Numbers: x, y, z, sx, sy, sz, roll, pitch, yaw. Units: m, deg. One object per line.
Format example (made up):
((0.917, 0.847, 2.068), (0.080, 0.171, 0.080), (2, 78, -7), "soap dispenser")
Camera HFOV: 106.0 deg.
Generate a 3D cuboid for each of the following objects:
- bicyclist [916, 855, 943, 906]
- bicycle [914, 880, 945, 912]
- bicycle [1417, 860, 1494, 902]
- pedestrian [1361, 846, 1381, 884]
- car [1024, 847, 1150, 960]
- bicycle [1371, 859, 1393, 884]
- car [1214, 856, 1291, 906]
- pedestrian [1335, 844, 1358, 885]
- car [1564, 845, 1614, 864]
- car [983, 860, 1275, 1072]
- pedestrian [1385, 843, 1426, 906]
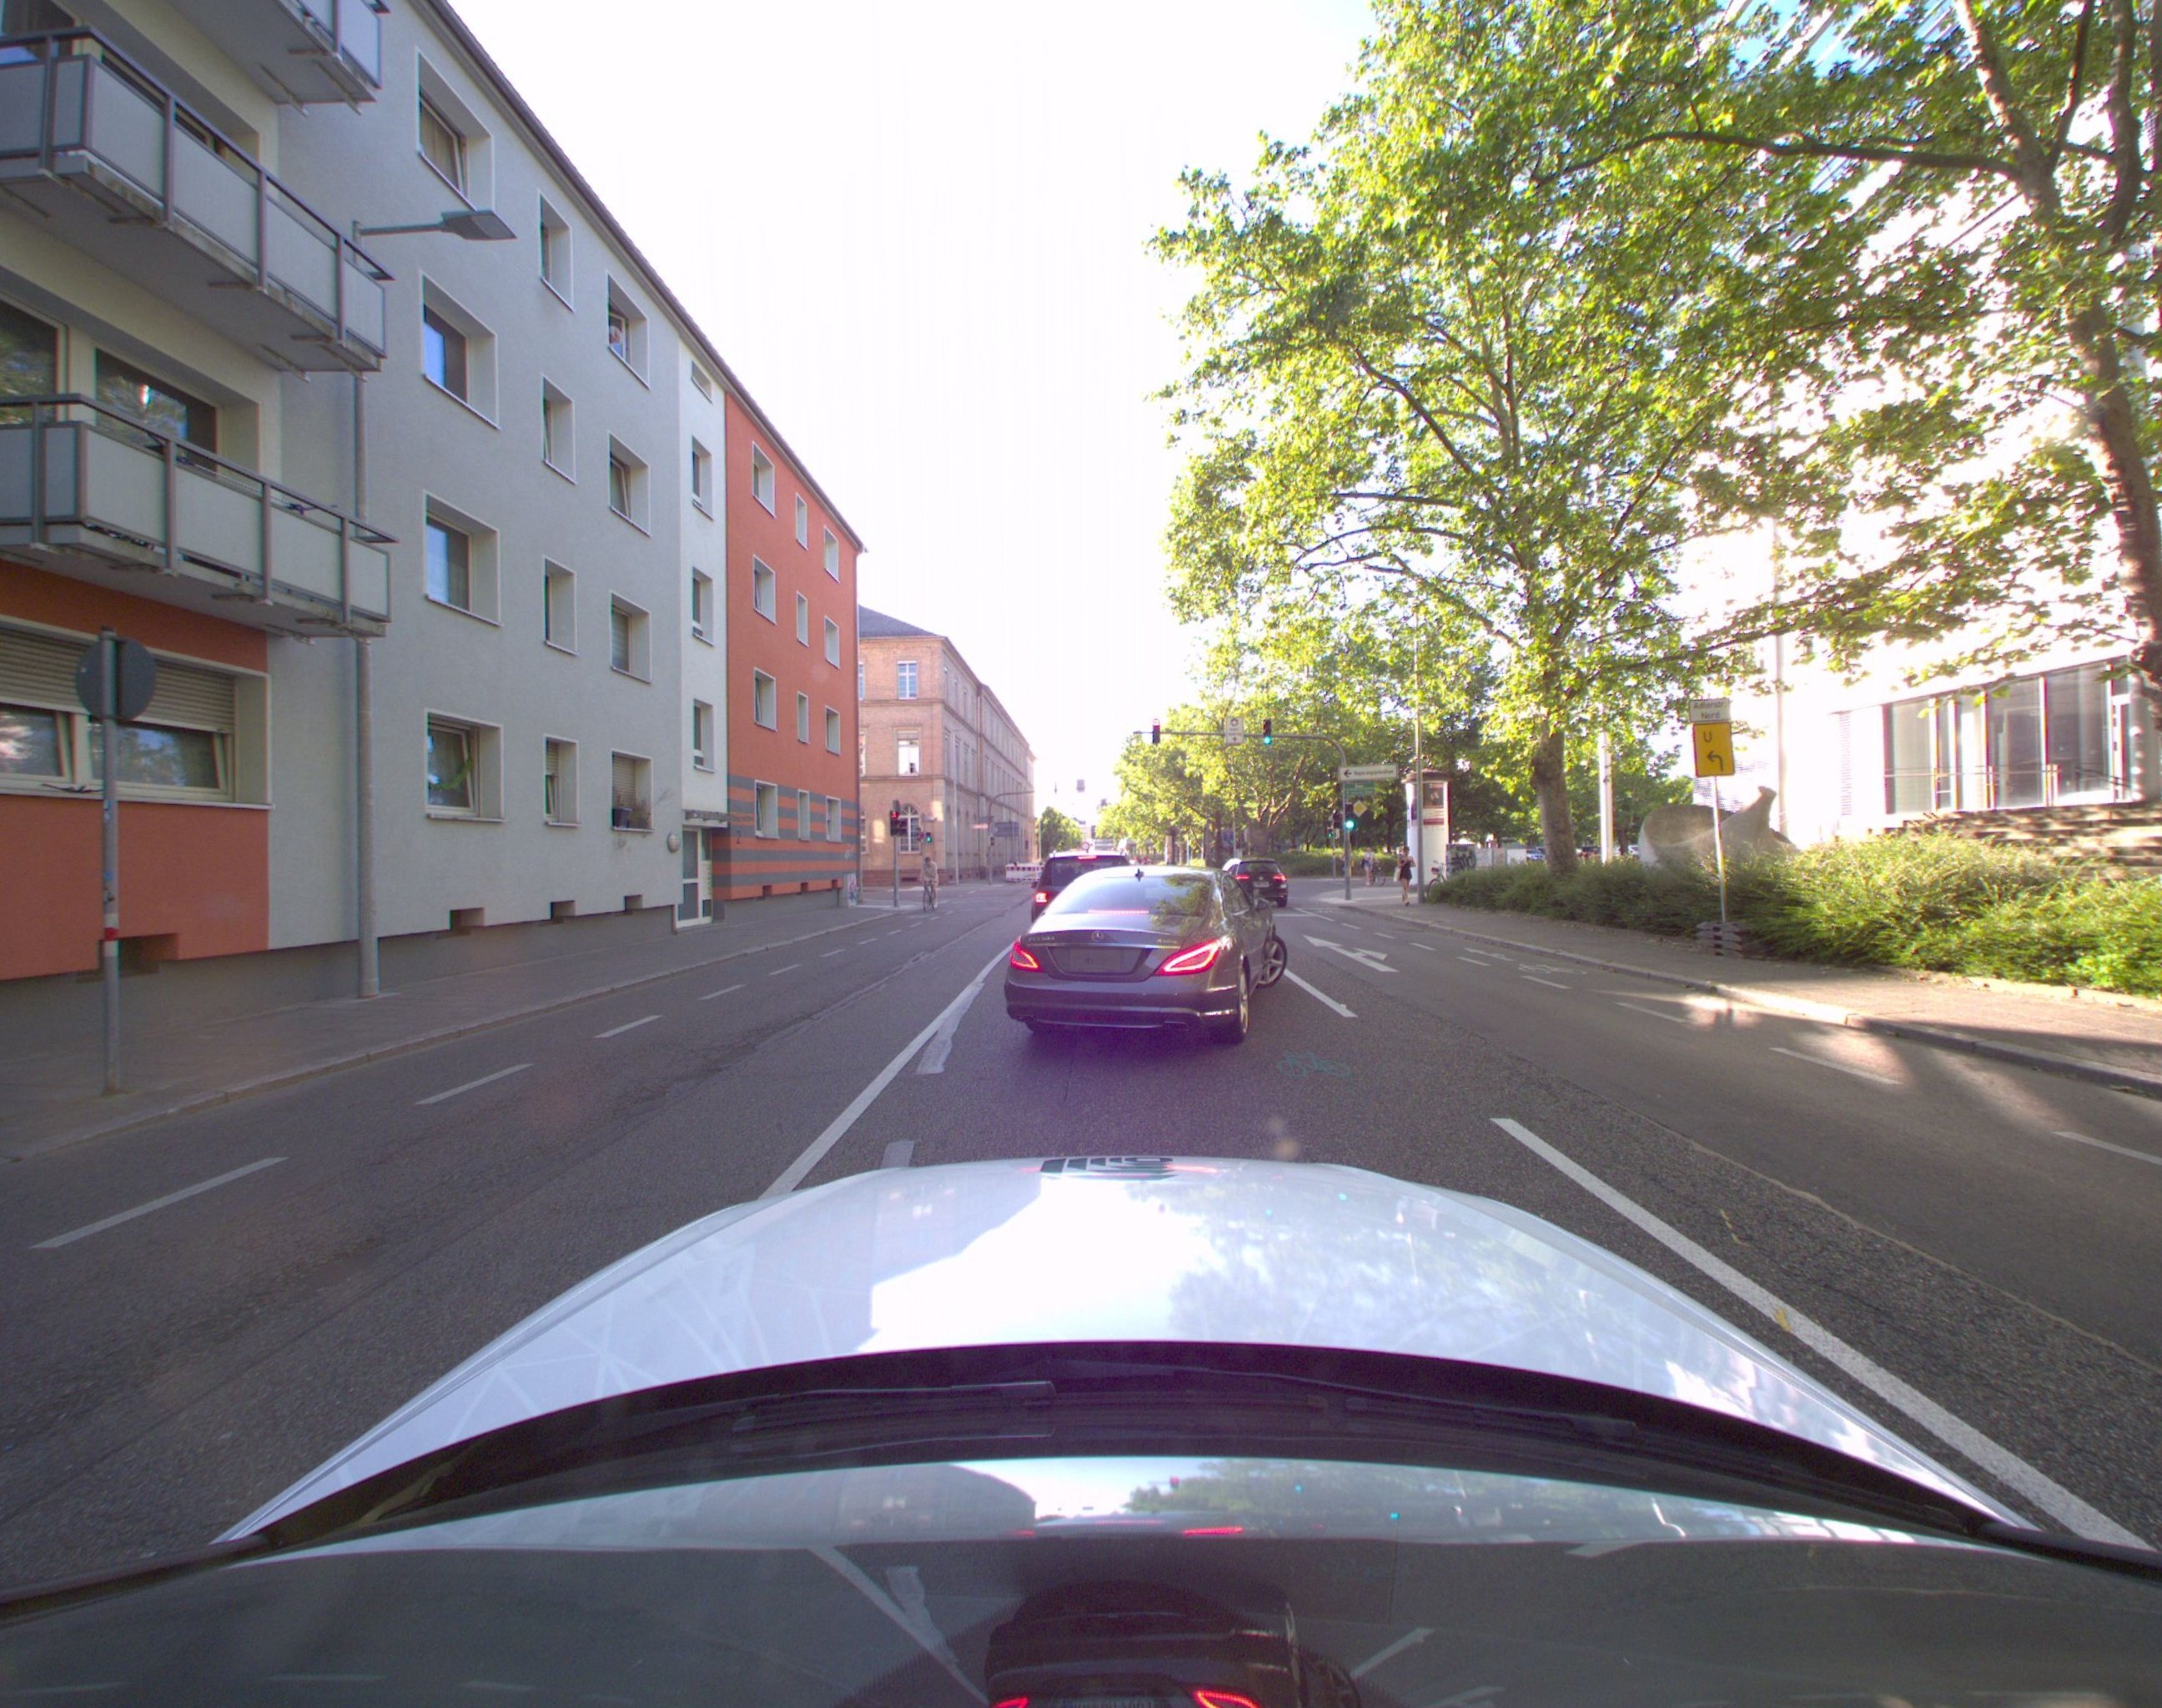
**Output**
((-4.663, 0.811, 25.145), (0.646, 1.558, 0.807), (0, -1, 1), "bicyclist")
((-4.645, 1.271, 25.131), (0.546, 0.891, 1.868), (0, -1, 2), "bicycle")
((10.805, 0.767, 23.505), (1.969, 1.190, 0.528), (0, -1, 0), "bicycle")
((13.005, 0.479, 36.563), (0.679, 1.697, 0.973), (0, -1, 8), "pedestrian")
((0.205, 0.737, 13.864), (1.801, 1.612, 4.003), (-1, -1, 3), "car")
((13.439, 0.781, 36.441), (0.521, 1.100, 1.744), (0, -1, 7), "bicycle")
((5.237, 0.799, 25.342), (1.683, 1.440, 3.903), (0, -1, 2), "car")
((11.918, 0.484, 36.637), (0.728, 1.808, 0.910), (-2, -2, 5), "pedestrian")
((39.745, 0.048, 63.827), (1.624, 1.483, 3.796), (0, -1, 1), "car")
((0.810, 0.788, 7.979), (1.829, 1.429, 4.537), (-1, -1, 17), "car")
((8.781, 0.546, 22.061), (0.793, 1.630, 0.910), (-3, -1, 11), "pedestrian")
